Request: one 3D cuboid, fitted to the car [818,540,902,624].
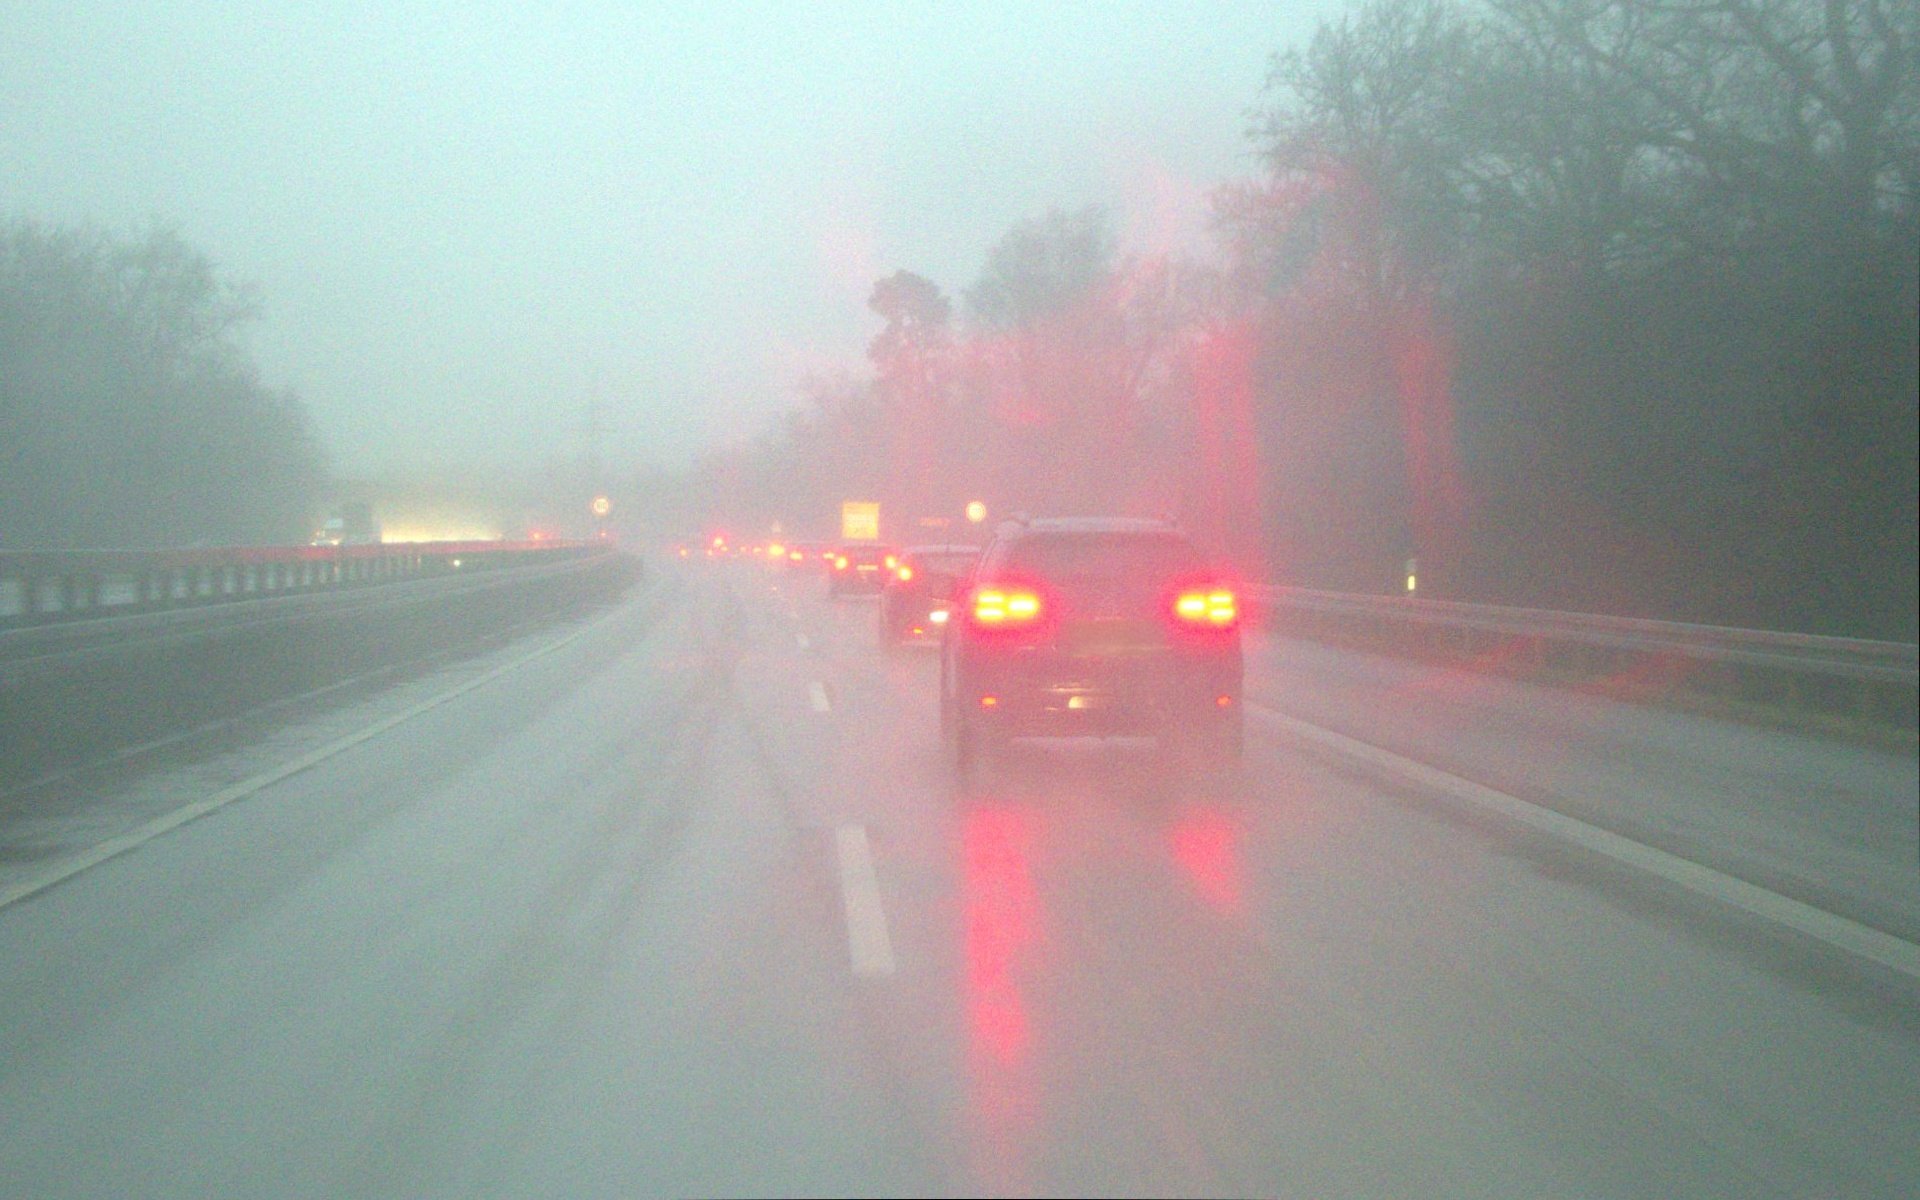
[{"bbox_3d":[-2.483,-0.463,85.445,1.993,2.007,4.000,1,1,-2],"label":"car"}]

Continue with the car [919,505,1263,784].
[{"bbox_3d":[0.792,0.252,23.243,1.992,1.709,3.830,1,1,-3],"label":"car"}]

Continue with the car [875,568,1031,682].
[{"bbox_3d":[-0.127,0.315,47.203,1.993,1.415,4.000,2,0,-1],"label":"car"}]
